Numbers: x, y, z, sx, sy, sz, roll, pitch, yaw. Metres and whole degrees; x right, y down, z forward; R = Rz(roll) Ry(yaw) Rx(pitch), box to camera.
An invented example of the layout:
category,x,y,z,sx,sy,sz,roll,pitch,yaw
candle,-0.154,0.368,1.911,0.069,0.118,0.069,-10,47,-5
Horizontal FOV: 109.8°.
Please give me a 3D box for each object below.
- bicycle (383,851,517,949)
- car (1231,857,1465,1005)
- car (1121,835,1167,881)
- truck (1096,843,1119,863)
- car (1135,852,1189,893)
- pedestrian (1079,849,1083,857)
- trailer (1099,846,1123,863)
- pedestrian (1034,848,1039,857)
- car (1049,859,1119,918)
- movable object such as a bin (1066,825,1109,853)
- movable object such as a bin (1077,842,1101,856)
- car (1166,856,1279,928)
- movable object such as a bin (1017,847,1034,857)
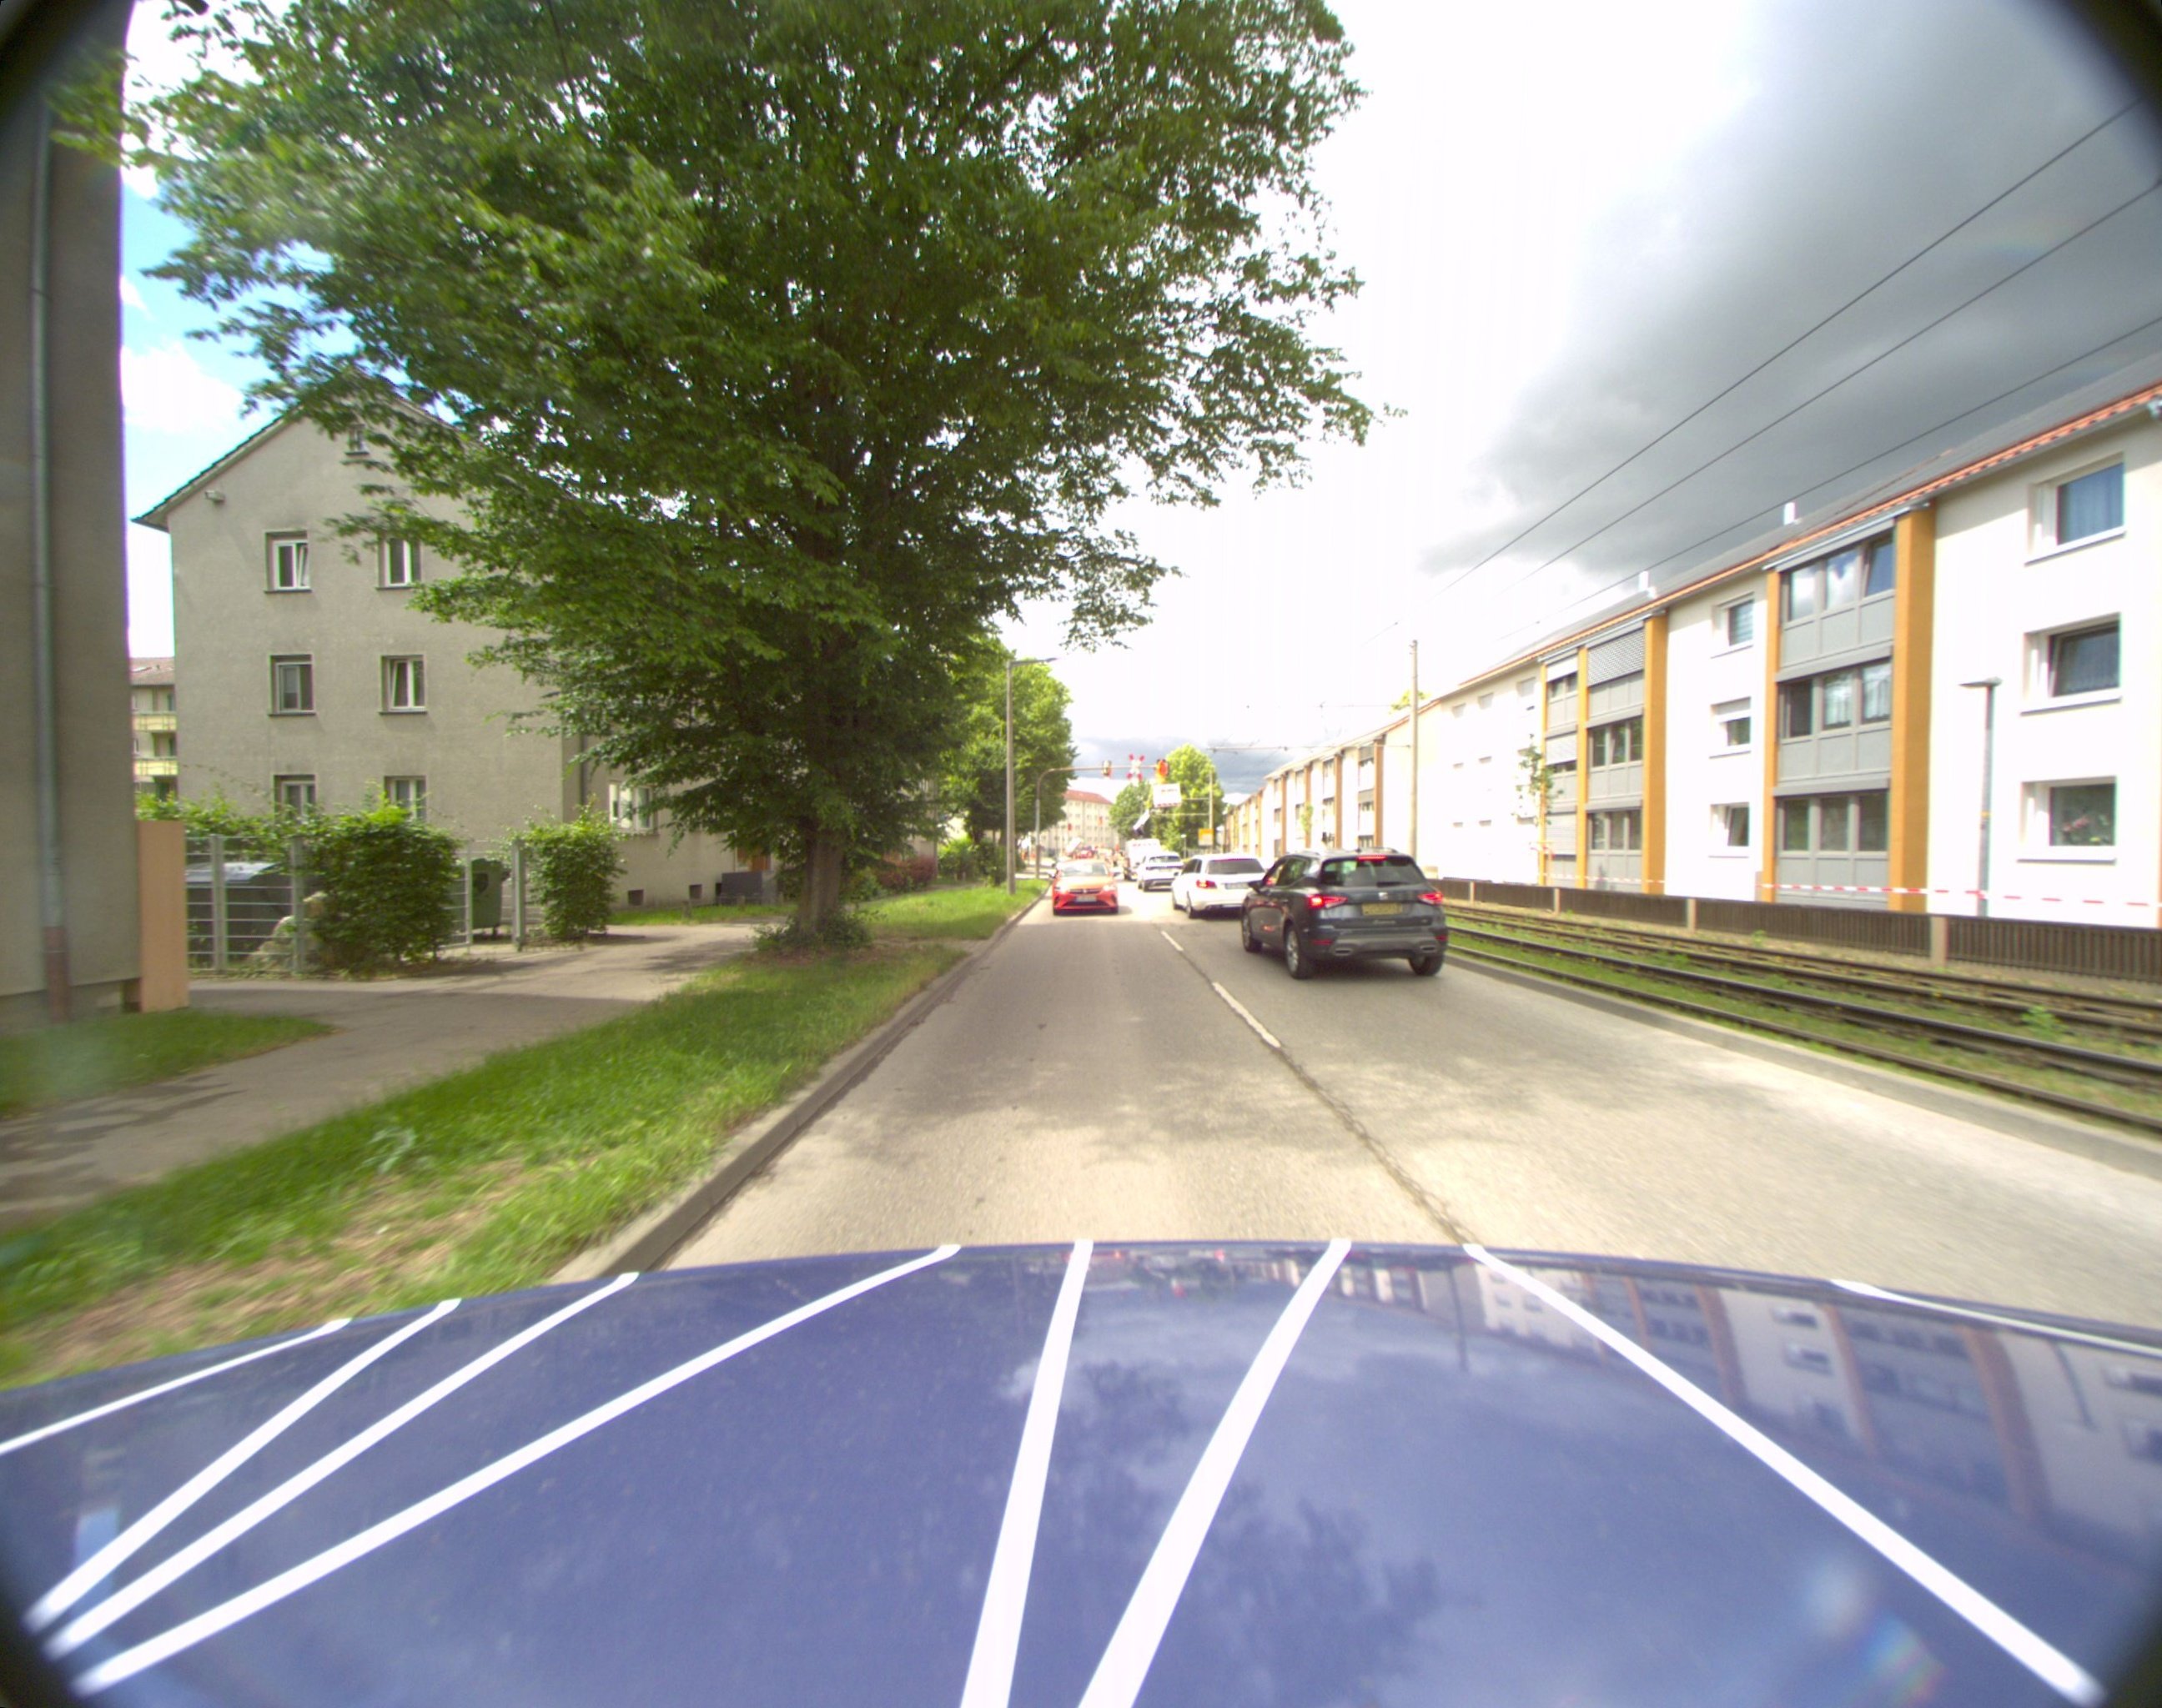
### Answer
category,x,y,z,sx,sy,sz,roll,pitch,yaw
bicycle,-10.566,0.742,12.776,1.350,1.565,1.072,0,1,3
car,3.216,0.821,9.980,1.654,1.511,3.865,-1,0,-1
car,3.540,0.229,44.002,1.999,2.416,6.321,-1,0,-1
truck,3.725,-0.130,109.333,2.669,2.709,6.394,-1,0,-3
car,3.282,0.725,31.419,1.722,1.543,3.917,-2,0,0
pedestrian,0.028,-0.195,152.489,0.611,1.778,0.583,-1,0,29
trailer,4.052,0.086,103.035,2.669,2.201,6.246,-1,0,-3
pedestrian,-8.906,-0.308,152.495,0.767,1.828,0.785,0,1,23
car,0.080,0.912,21.841,1.769,1.425,3.838,-2,0,0
movable object such as a bin,1.361,-2.970,155.990,9.054,5.453,2.813,0,0,-36
movable object such as a bin,1.630,-1.068,150.957,2.110,2.653,5.598,1,2,31
car,3.313,0.816,18.661,1.884,1.472,4.528,-2,0,0
movable object such as a bin,-11.201,-0.407,153.366,2.959,2.002,2.004,0,0,35
